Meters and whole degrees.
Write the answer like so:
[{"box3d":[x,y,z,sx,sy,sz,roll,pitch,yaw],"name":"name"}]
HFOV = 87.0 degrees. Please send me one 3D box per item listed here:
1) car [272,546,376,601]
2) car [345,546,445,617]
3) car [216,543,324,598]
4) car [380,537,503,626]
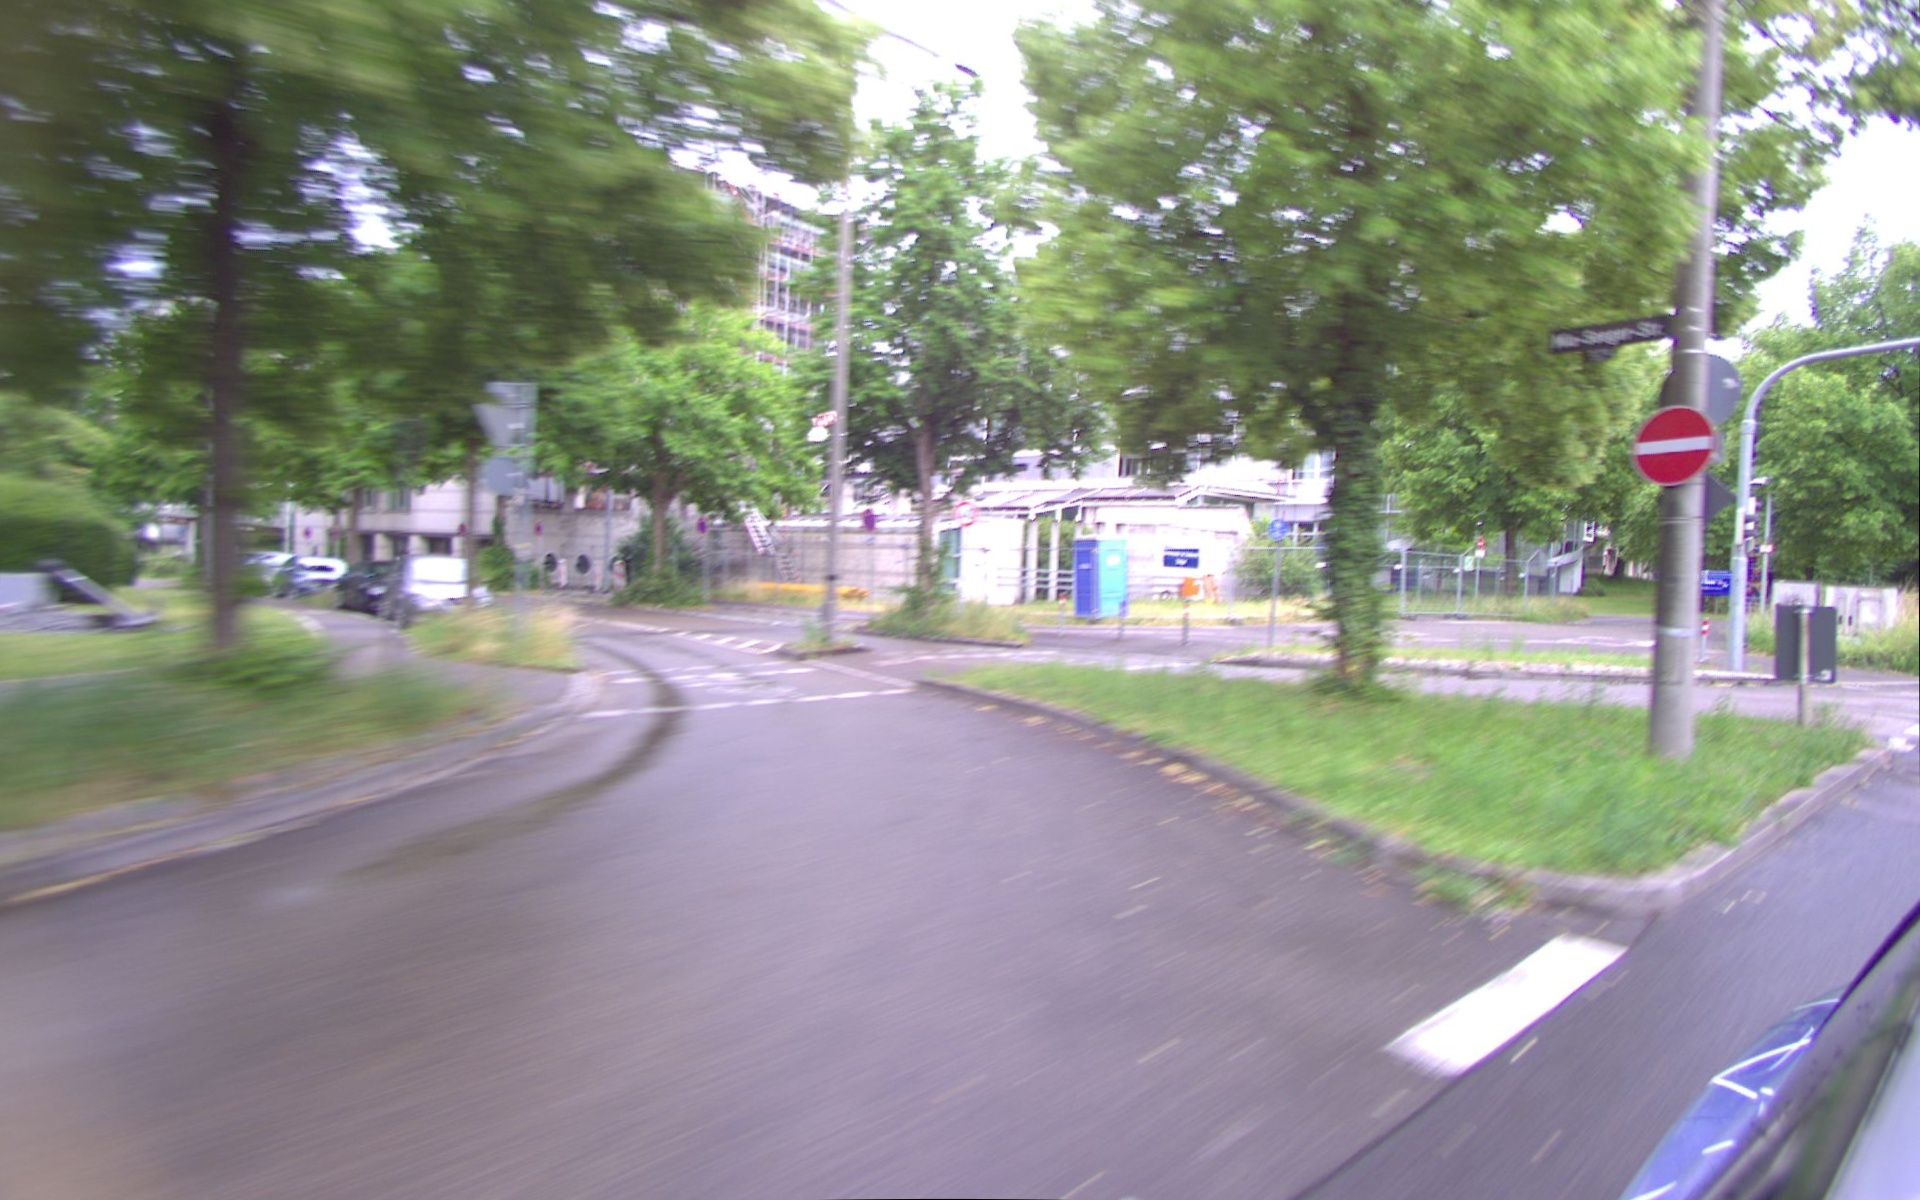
[{"box3d":[-19.699,-0.830,31.294,4.098,1.451,1.730,4,1,44],"name":"car"},{"box3d":[-14.452,-0.511,25.785,1.724,1.598,4.112,3,1,-35],"name":"car"},{"box3d":[-23.608,-1.024,34.565,4.087,1.641,1.734,4,1,36],"name":"car"},{"box3d":[-11.163,-0.440,21.643,1.724,1.662,4.112,3,1,-35],"name":"car"}]
